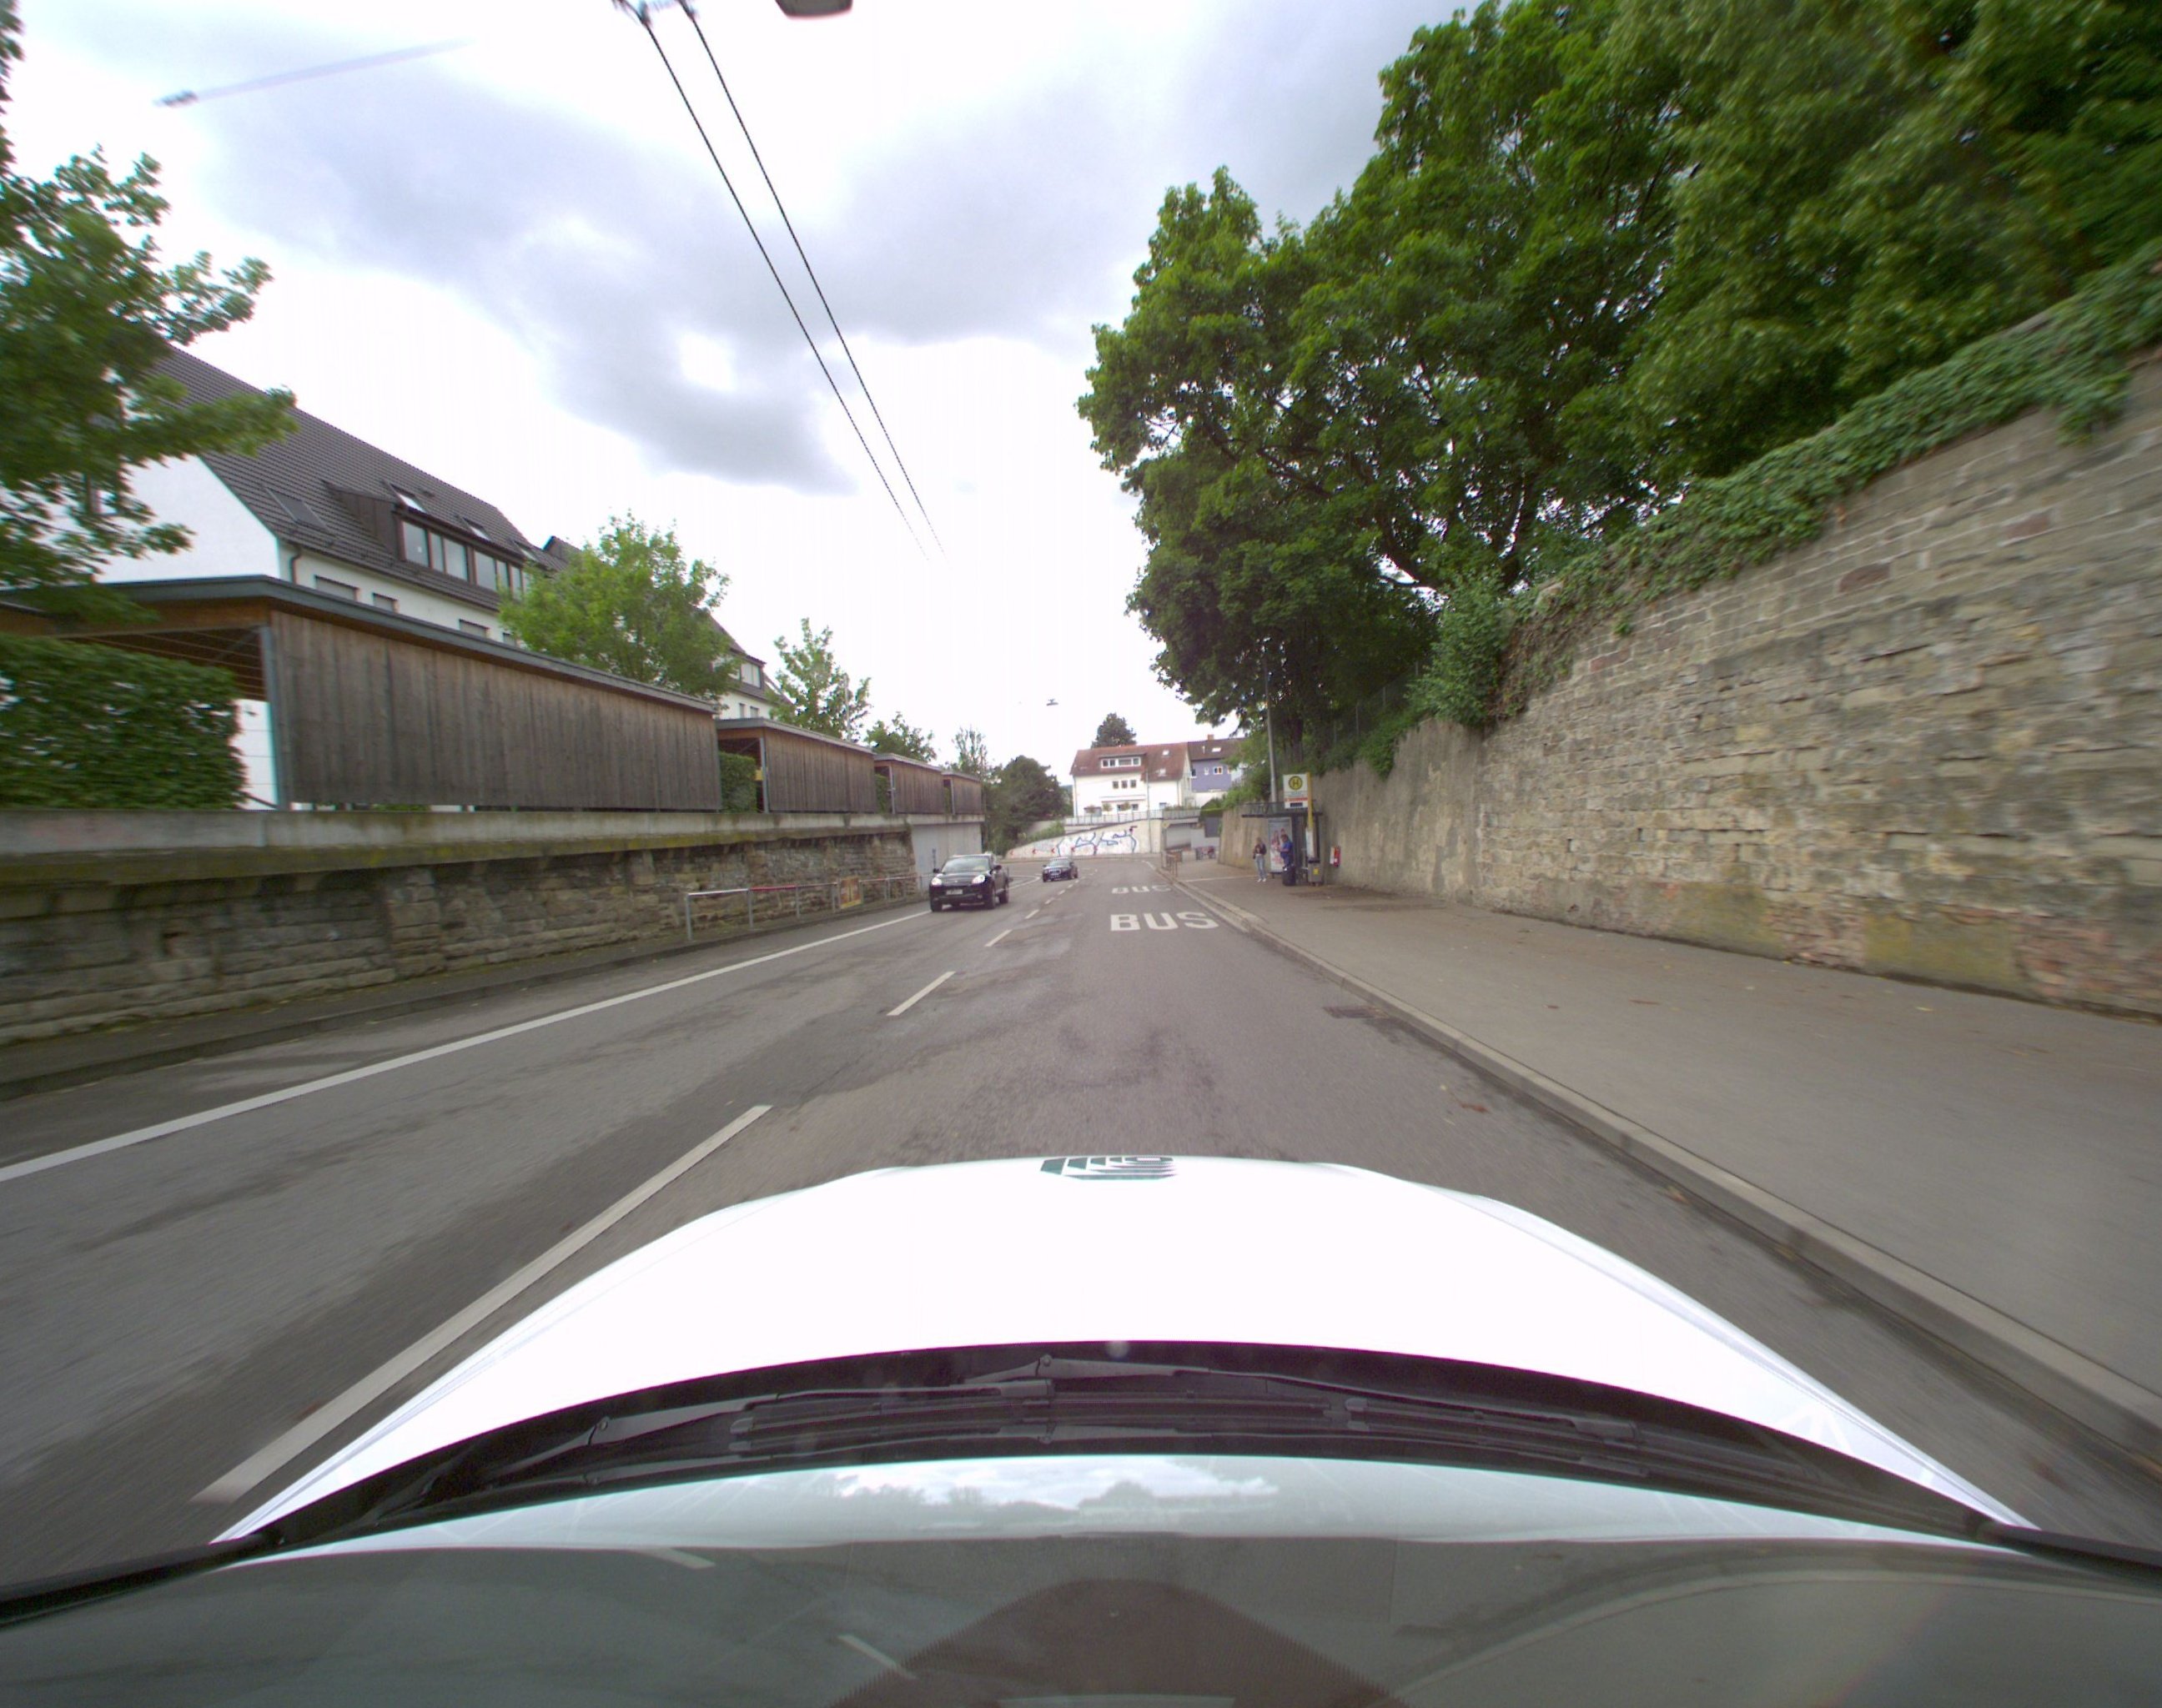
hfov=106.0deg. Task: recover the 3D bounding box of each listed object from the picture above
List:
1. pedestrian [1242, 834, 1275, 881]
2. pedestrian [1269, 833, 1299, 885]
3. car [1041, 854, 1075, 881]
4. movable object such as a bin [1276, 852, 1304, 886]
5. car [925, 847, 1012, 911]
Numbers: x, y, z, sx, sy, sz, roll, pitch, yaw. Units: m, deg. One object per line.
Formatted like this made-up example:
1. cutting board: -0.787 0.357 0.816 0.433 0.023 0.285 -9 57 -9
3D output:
1. pedestrian: 6.312 0.111 29.008 0.728 1.587 0.778 -4 1 44
2. pedestrian: 6.651 0.150 26.654 0.719 1.642 0.630 -3 0 -2
3. car: -1.405 0.793 51.105 1.728 1.532 4.003 -3 0 3
4. movable object such as a bin: 6.648 0.464 25.948 0.673 1.020 0.626 -3 1 -3
5. car: -3.474 0.725 25.970 1.887 1.756 4.439 -3 0 2
